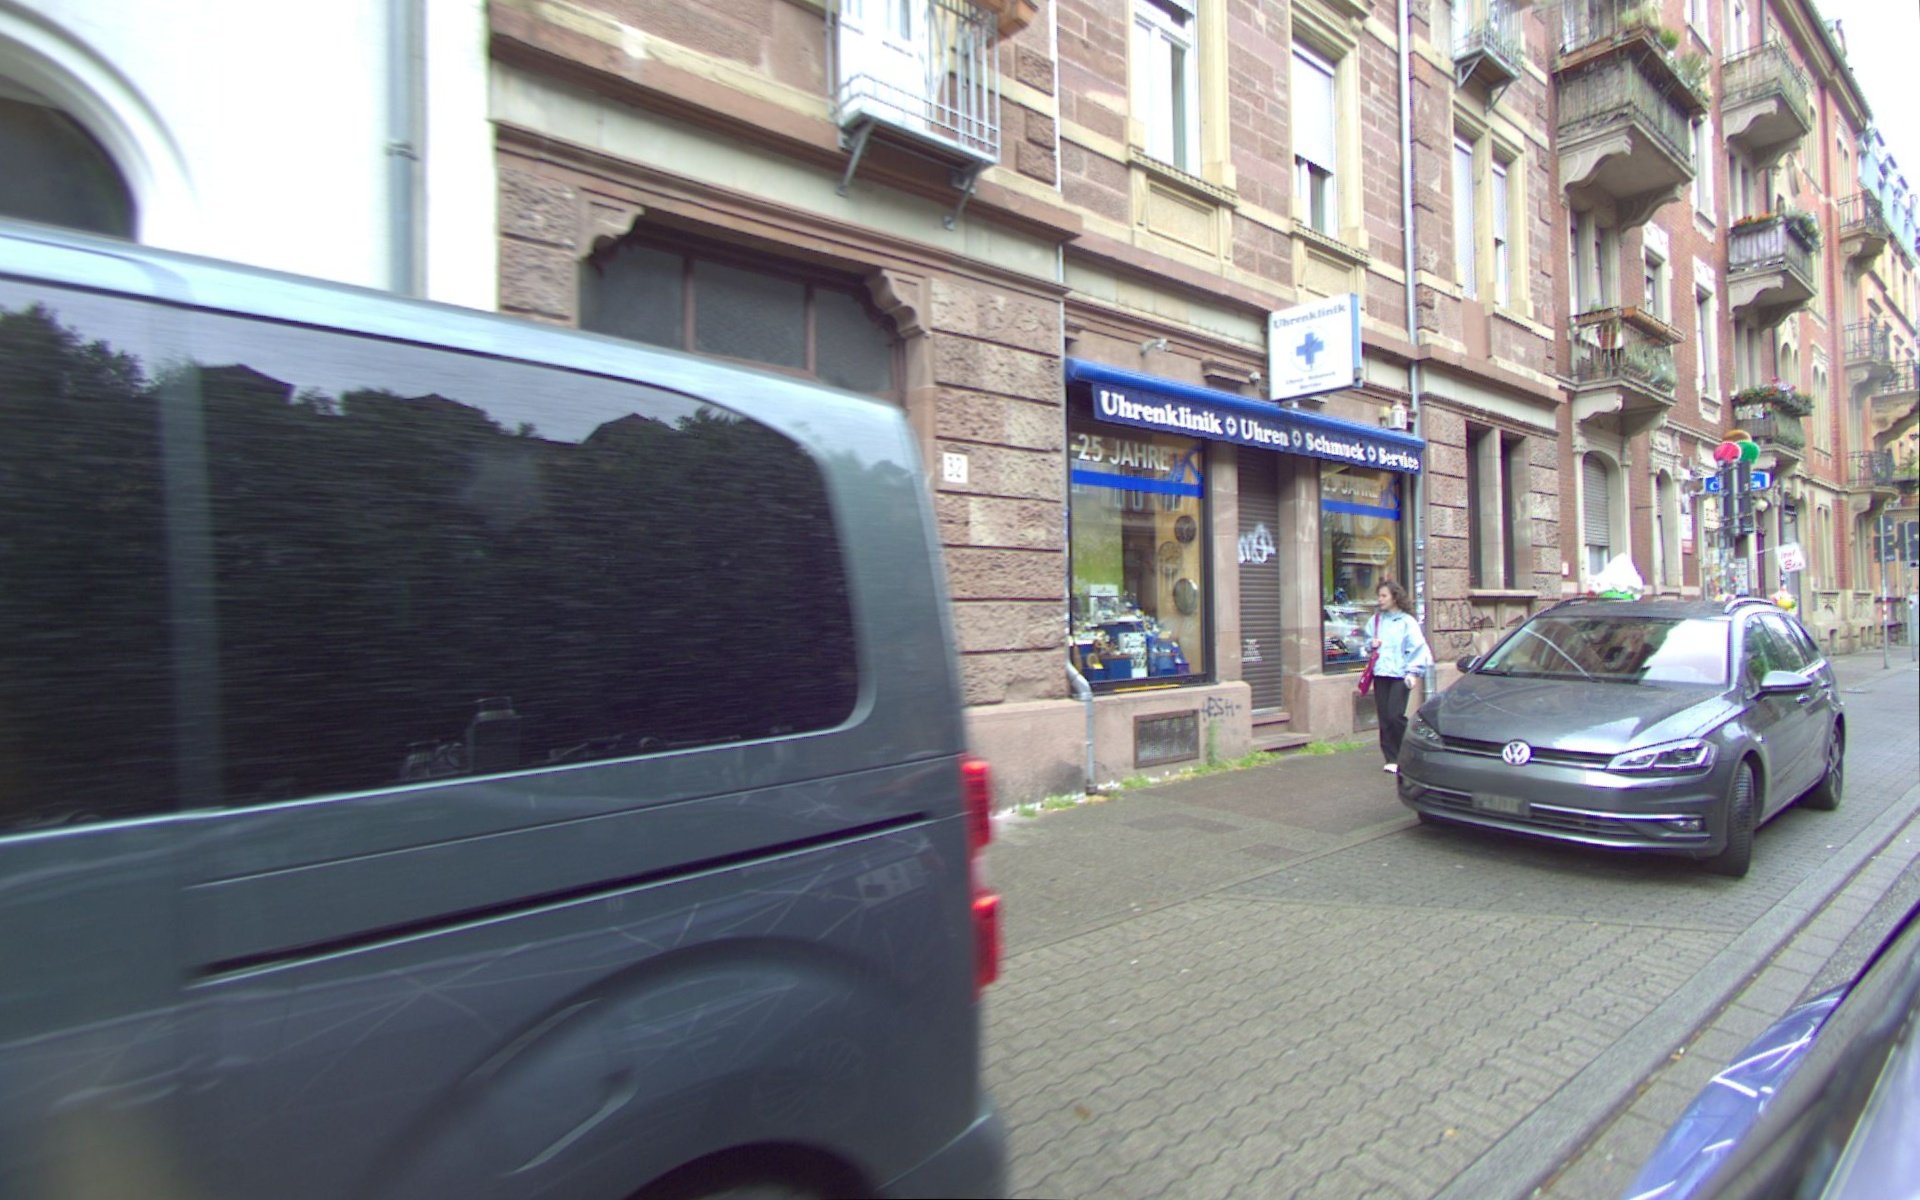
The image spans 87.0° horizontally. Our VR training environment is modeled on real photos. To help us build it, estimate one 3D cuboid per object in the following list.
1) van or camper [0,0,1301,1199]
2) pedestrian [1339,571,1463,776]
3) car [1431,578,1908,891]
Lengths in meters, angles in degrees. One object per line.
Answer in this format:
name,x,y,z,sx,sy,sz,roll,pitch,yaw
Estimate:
van or camper,-1.907,0.438,1.011,4.966,1.915,2.025,0,0,-41
pedestrian,3.750,0.584,8.609,0.795,1.634,0.680,0,-1,-40
car,5.104,0.668,7.080,3.934,1.565,1.844,0,0,-41
